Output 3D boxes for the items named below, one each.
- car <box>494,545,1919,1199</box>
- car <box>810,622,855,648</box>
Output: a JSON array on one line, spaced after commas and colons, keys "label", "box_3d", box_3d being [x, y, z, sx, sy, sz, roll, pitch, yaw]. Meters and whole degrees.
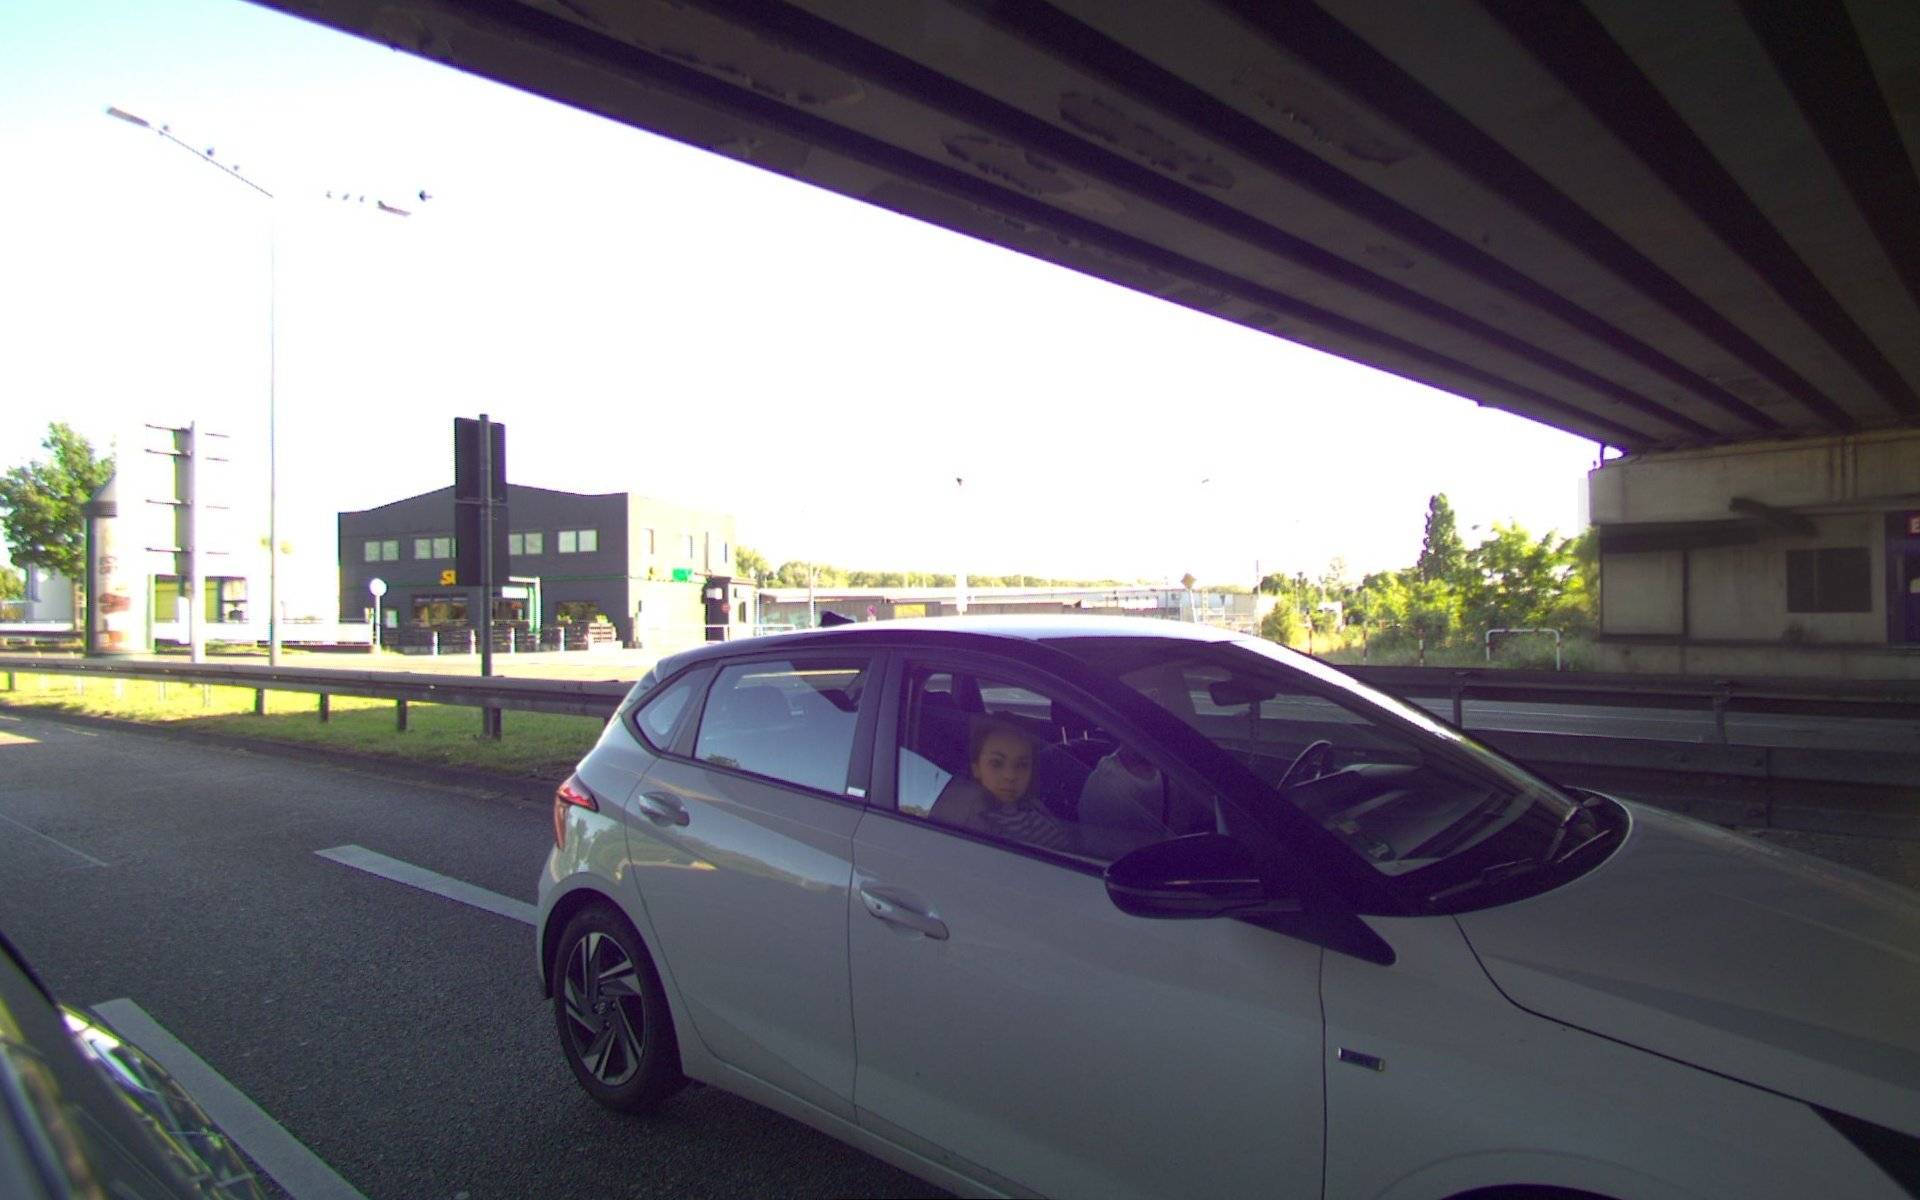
[{"label": "car", "box_3d": [0.556, 0.714, 2.671, 3.987, 1.491, 1.716, -1, -1, 40]}, {"label": "car", "box_3d": [-6.879, 1.925, 54.963, 1.806, 1.291, 4.180, 1, -3, 1]}]
